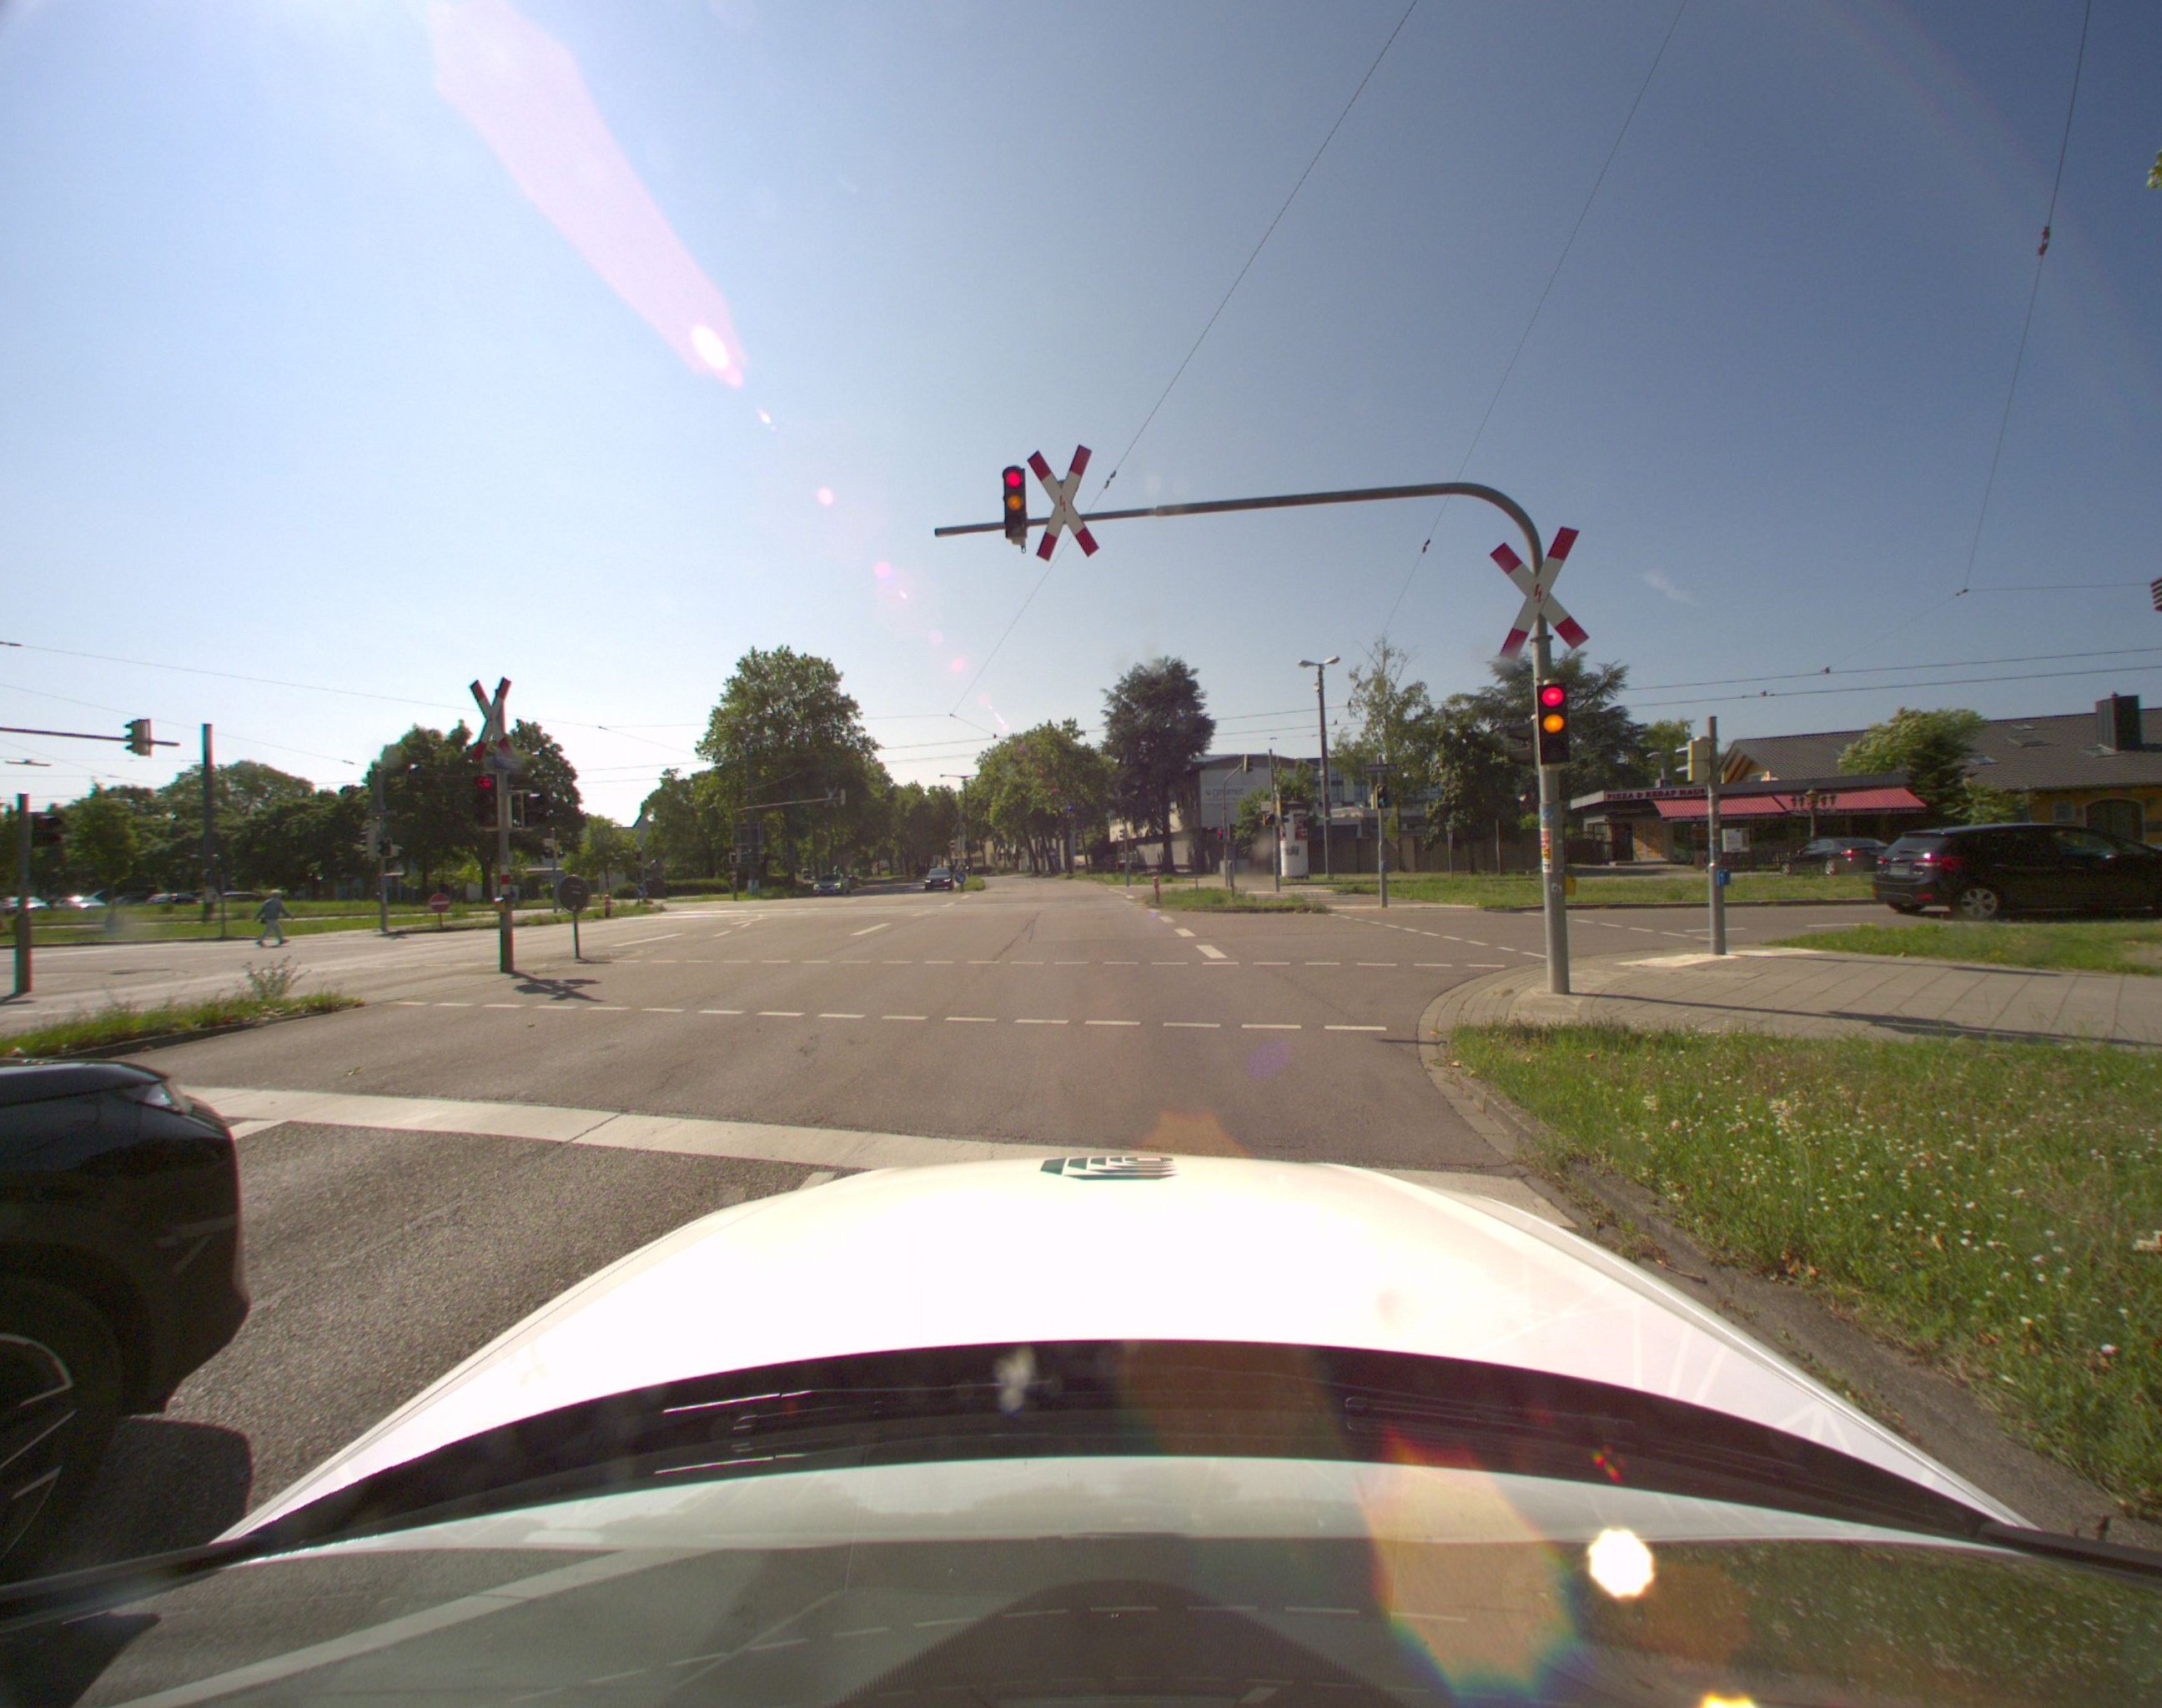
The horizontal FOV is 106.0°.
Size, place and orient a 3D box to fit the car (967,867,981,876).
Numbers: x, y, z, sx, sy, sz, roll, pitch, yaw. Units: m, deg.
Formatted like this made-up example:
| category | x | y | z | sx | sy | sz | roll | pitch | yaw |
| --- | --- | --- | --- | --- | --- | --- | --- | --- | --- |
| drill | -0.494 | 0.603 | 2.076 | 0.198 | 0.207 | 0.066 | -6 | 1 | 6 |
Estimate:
| category | x | y | z | sx | sy | sz | roll | pitch | yaw |
| --- | --- | --- | --- | --- | --- | --- | --- | --- | --- |
| car | -19.675 | 3.194 | 149.286 | 1.712 | 1.487 | 4.075 | -2 | 0 | -18 |

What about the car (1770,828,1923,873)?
| category | x | y | z | sx | sy | sz | roll | pitch | yaw |
| --- | --- | --- | --- | --- | --- | --- | --- | --- | --- |
| car | 28.992 | -0.074 | 31.122 | 2.119 | 1.499 | 5.141 | -2 | -2 | 17 |

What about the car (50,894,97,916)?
| category | x | y | z | sx | sy | sz | roll | pitch | yaw |
| --- | --- | --- | --- | --- | --- | --- | --- | --- | --- |
| car | -72.179 | 3.626 | 58.331 | 3.299 | 1.446 | 1.457 | -2 | -1 | 27 |

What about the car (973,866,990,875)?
| category | x | y | z | sx | sy | sz | roll | pitch | yaw |
| --- | --- | --- | --- | --- | --- | --- | --- | --- | --- |
| car | -17.660 | 2.989 | 144.156 | 1.714 | 1.487 | 4.683 | -3 | 0 | -22 |

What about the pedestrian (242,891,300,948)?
| category | x | y | z | sx | sy | sz | roll | pitch | yaw |
| --- | --- | --- | --- | --- | --- | --- | --- | --- | --- |
| pedestrian | -22.445 | 1.803 | 22.585 | 0.692 | 1.501 | 0.872 | -2 | -1 | 13 |

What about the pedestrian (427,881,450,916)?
| category | x | y | z | sx | sy | sz | roll | pitch | yaw |
| --- | --- | --- | --- | --- | --- | --- | --- | --- | --- |
| pedestrian | -38.275 | 2.665 | 48.538 | 0.793 | 2.013 | 0.709 | -2 | -1 | -11 |

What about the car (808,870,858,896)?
| category | x | y | z | sx | sy | sz | roll | pitch | yaw |
| --- | --- | --- | --- | --- | --- | --- | --- | --- | --- |
| car | -16.446 | 1.903 | 54.313 | 1.687 | 1.508 | 4.663 | -2 | -1 | 2 |

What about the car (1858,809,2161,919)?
| category | x | y | z | sx | sy | sz | roll | pitch | yaw |
| --- | --- | --- | --- | --- | --- | --- | --- | --- | --- |
| car | 16.286 | 0.142 | 13.923 | 3.958 | 1.655 | 1.801 | -2 | 2 | 14 |

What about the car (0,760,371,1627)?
| category | x | y | z | sx | sy | sz | roll | pitch | yaw |
| --- | --- | --- | --- | --- | --- | --- | --- | --- | --- |
| car | -3.102 | 0.668 | 0.196 | 1.865 | 1.696 | 4.437 | -1 | 0 | 2 |

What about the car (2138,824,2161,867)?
| category | x | y | z | sx | sy | sz | roll | pitch | yaw |
| --- | --- | --- | --- | --- | --- | --- | --- | --- | --- |
| car | 38.553 | -0.336 | 26.746 | 2.132 | 1.499 | 4.199 | -1 | -1 | -5 |

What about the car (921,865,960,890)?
| category | x | y | z | sx | sy | sz | roll | pitch | yaw |
| --- | --- | --- | --- | --- | --- | --- | --- | --- | --- |
| car | -9.294 | 1.549 | 54.004 | 1.687 | 1.508 | 4.131 | -2 | -1 | 2 |

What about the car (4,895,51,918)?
| category | x | y | z | sx | sy | sz | roll | pitch | yaw |
| --- | --- | --- | --- | --- | --- | --- | --- | --- | --- |
| car | -72.970 | 3.636 | 56.411 | 3.299 | 1.446 | 1.357 | -2 | -1 | 27 |
